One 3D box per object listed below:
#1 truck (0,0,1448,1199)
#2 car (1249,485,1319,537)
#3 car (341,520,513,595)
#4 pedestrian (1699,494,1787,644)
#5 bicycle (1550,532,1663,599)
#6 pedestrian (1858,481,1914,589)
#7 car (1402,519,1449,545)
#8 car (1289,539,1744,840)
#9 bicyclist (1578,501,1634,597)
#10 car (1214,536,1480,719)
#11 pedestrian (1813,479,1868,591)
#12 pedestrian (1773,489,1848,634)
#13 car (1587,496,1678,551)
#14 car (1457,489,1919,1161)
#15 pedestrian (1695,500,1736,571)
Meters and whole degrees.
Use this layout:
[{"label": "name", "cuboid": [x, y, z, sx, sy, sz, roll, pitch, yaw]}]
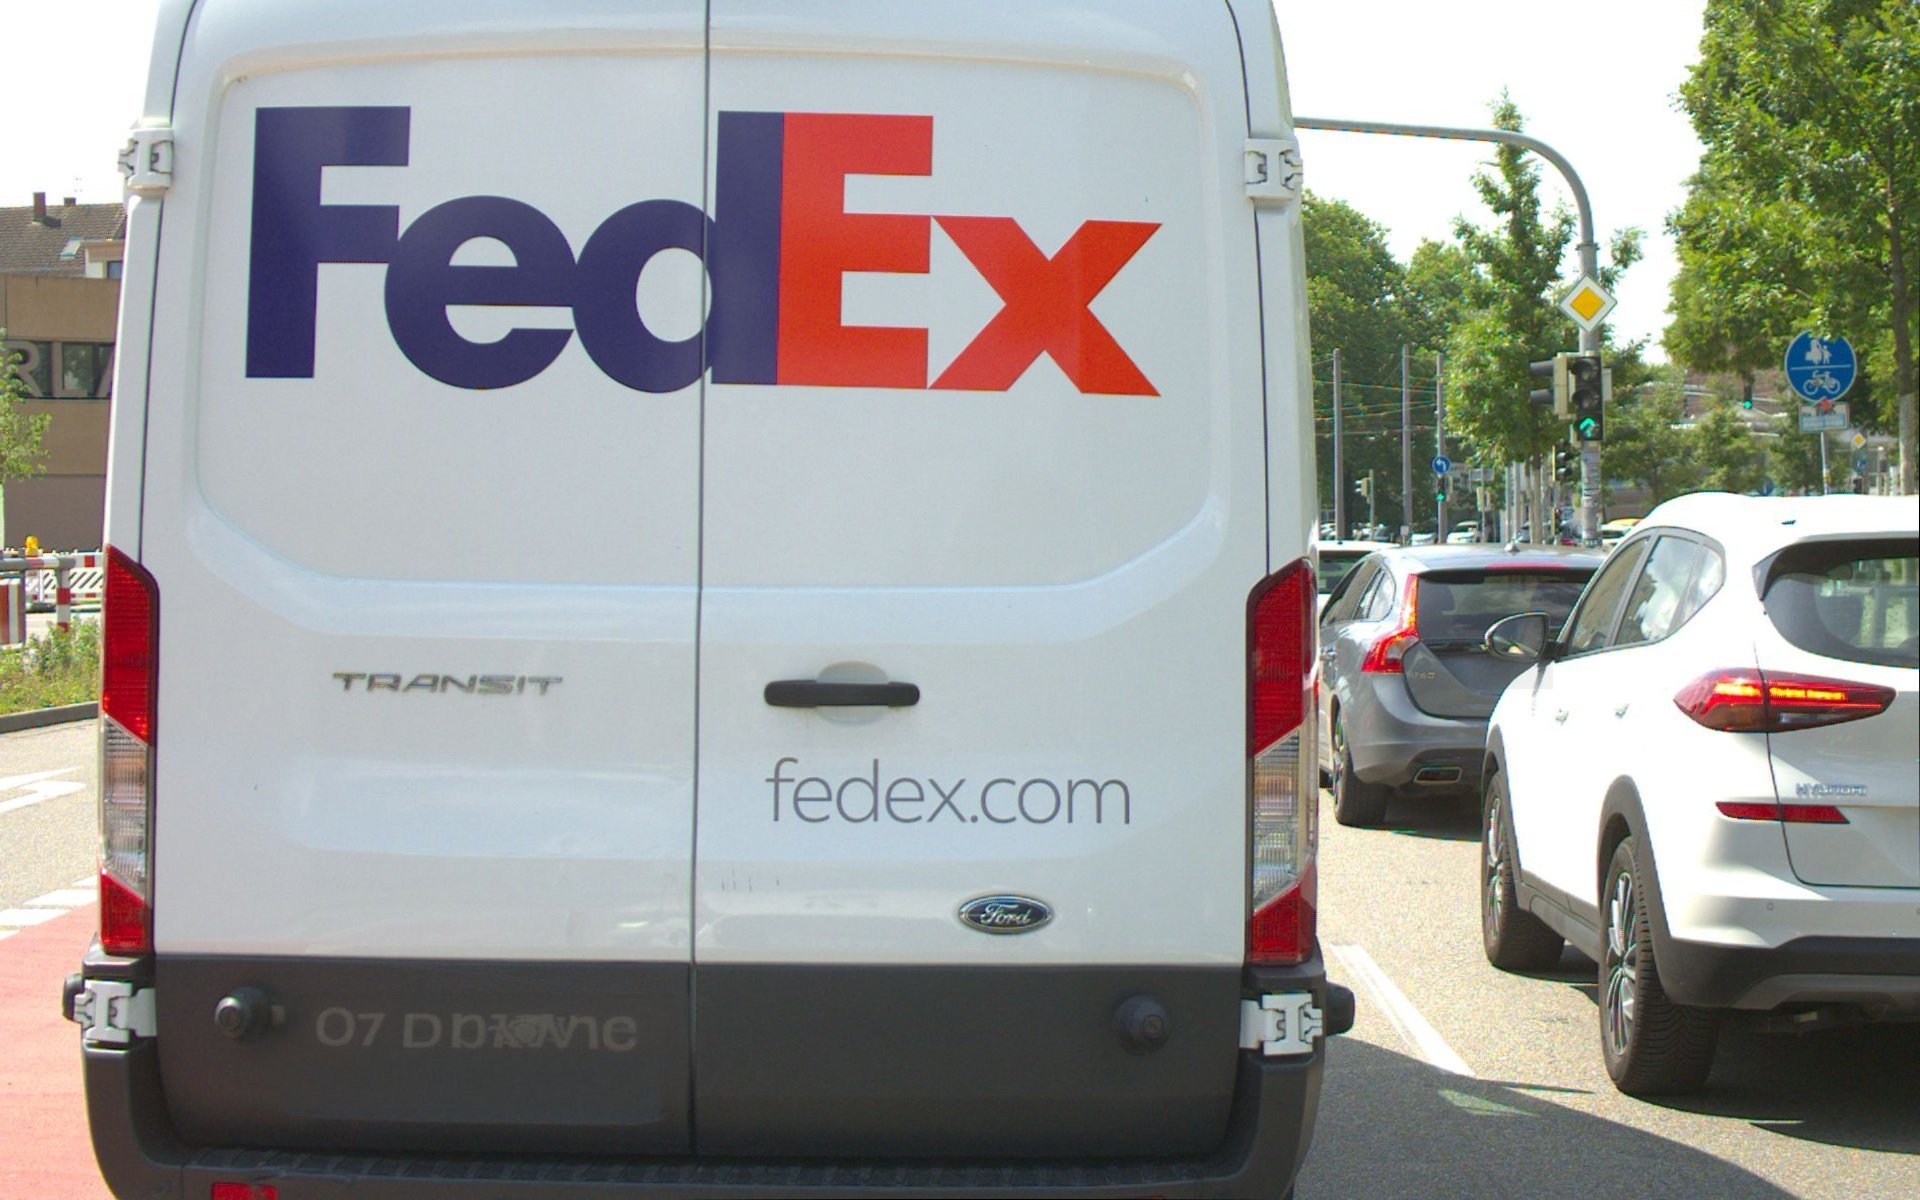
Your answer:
[{"label": "truck", "cuboid": [-0.399, 0.040, 7.987, 2.137, 2.631, 5.918, 1, 1, -1]}, {"label": "car", "cuboid": [13.258, -3.618, 140.494, 1.995, 2.007, 4.119, 1, 1, 17]}, {"label": "car", "cuboid": [-11.086, -0.873, 71.777, 1.995, 1.503, 4.014, 1, 1, 17]}, {"label": "pedestrian", "cuboid": [9.515, -0.385, 41.807, 0.749, 1.771, 0.882, -2, 1, -6]}, {"label": "bicycle", "cuboid": [11.060, -0.593, 58.826, 1.810, 1.046, 0.591, -3, 0, 7]}, {"label": "pedestrian", "cuboid": [15.155, -1.066, 56.277, 0.750, 1.746, 0.609, -2, 1, 7]}, {"label": "car", "cuboid": [29.090, -4.228, 214.837, 1.996, 1.568, 4.173, 1, 1, 21]}, {"label": "car", "cuboid": [2.888, 0.400, 18.649, 1.915, 1.415, 3.918, -1, 1, 1]}, {"label": "bicyclist", "cuboid": [11.047, -0.864, 58.829, 0.828, 1.596, 0.579, -3, 0, 7]}, {"label": "car", "cuboid": [3.237, 0.185, 29.428, 1.915, 1.415, 3.918, -1, 1, 1]}, {"label": "pedestrian", "cuboid": [14.337, -1.057, 55.989, 0.750, 1.796, 0.609, -2, 1, 7]}, {"label": "pedestrian", "cuboid": [10.401, -0.478, 42.053, 0.666, 1.740, 0.609, -2, 1, -6]}, {"label": "car", "cuboid": [20.639, -2.366, 105.423, 1.883, 1.635, 3.952, 0, 2, 25]}, {"label": "car", "cuboid": [2.714, 0.489, 10.460, 1.881, 1.635, 4.233, -1, 1, 1]}, {"label": "pedestrian", "cuboid": [16.981, -1.439, 77.257, 0.756, 1.584, 0.761, 1, 0, 2]}]
